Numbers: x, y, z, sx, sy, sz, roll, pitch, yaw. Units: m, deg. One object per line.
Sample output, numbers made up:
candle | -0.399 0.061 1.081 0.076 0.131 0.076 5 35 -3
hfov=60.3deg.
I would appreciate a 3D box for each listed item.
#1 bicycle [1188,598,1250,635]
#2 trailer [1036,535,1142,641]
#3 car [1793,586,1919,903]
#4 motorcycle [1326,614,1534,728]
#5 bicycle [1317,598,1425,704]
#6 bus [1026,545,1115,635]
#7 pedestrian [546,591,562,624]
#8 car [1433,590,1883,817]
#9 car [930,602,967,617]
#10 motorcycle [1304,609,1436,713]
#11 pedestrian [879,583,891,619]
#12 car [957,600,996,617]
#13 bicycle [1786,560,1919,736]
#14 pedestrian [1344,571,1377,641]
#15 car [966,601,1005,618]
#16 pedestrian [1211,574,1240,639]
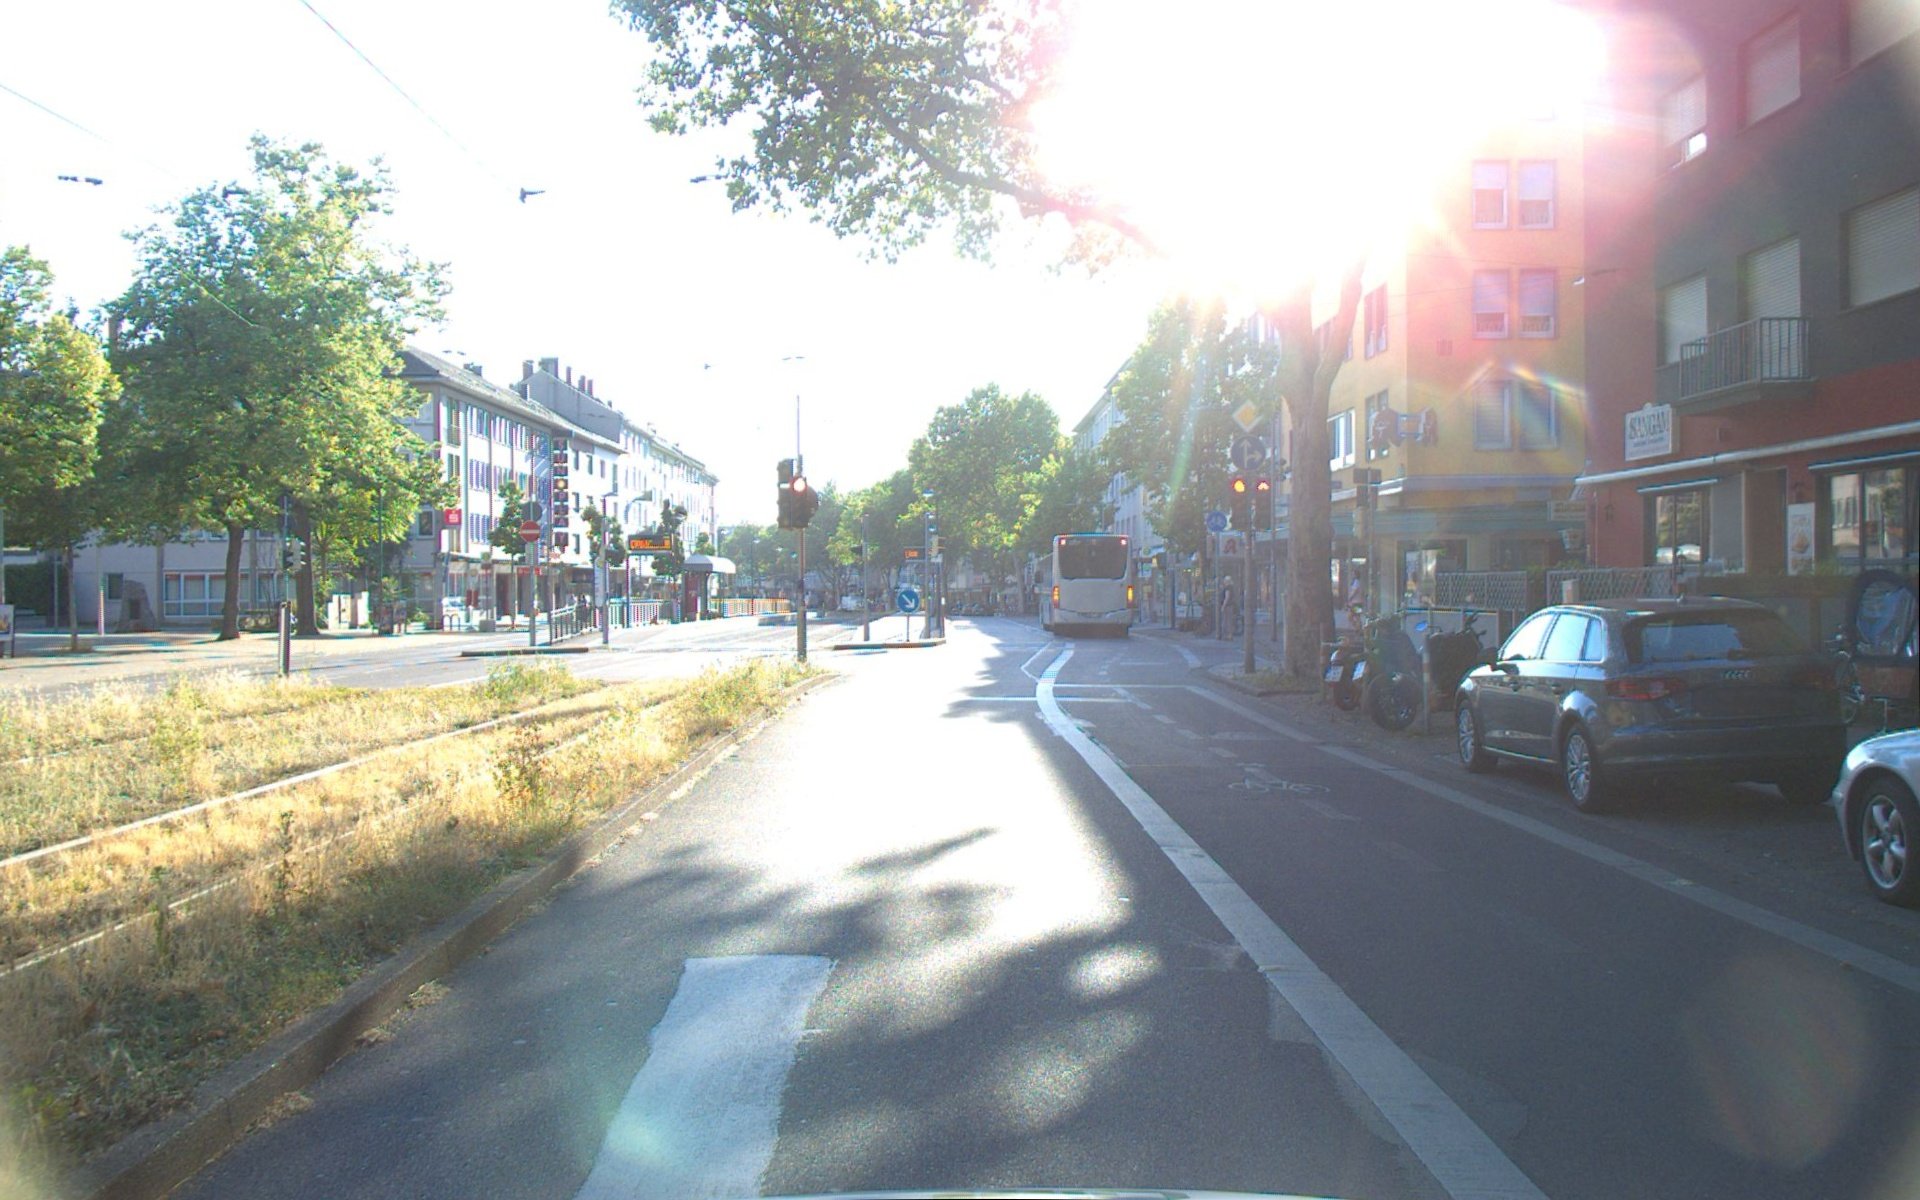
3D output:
bicycle | 7.764 0.504 49.640 1.736 1.039 0.694 -2 0 -1
trailer | 4.135 -0.368 54.930 2.754 3.164 8.794 1 0 0
car | 5.349 0.677 6.548 1.640 1.477 4.569 -1 0 -2
motorcycle | 5.164 0.755 18.158 2.176 1.081 0.762 -3 1 -23
bicycle | 5.414 0.642 21.714 0.683 1.224 1.839 1 4 38
bus | 4.130 -0.374 63.855 2.754 3.155 9.094 1 0 0
pedestrian | -26.065 0.496 106.136 0.694 2.048 0.949 -2 1 1
car | 5.112 0.653 12.811 1.675 1.421 4.321 -1 0 0
car | -1.240 1.097 184.974 3.847 1.624 1.675 -1 0 -29
motorcycle | 5.058 0.722 20.333 1.982 1.172 0.592 -1 0 -43
pedestrian | -1.901 0.028 42.047 0.285 0.890 0.344 1 0 -3
car | 1.787 0.898 180.392 3.847 1.729 1.816 -1 0 -29
bicycle | 8.247 0.403 14.697 0.594 1.451 2.396 1 0 0
pedestrian | 10.606 0.157 43.833 0.666 1.801 0.687 1 0 0
car | 2.713 0.975 177.034 3.847 1.729 1.816 -1 0 -29
pedestrian | 7.402 0.169 46.158 0.666 1.801 0.687 -1 0 0
